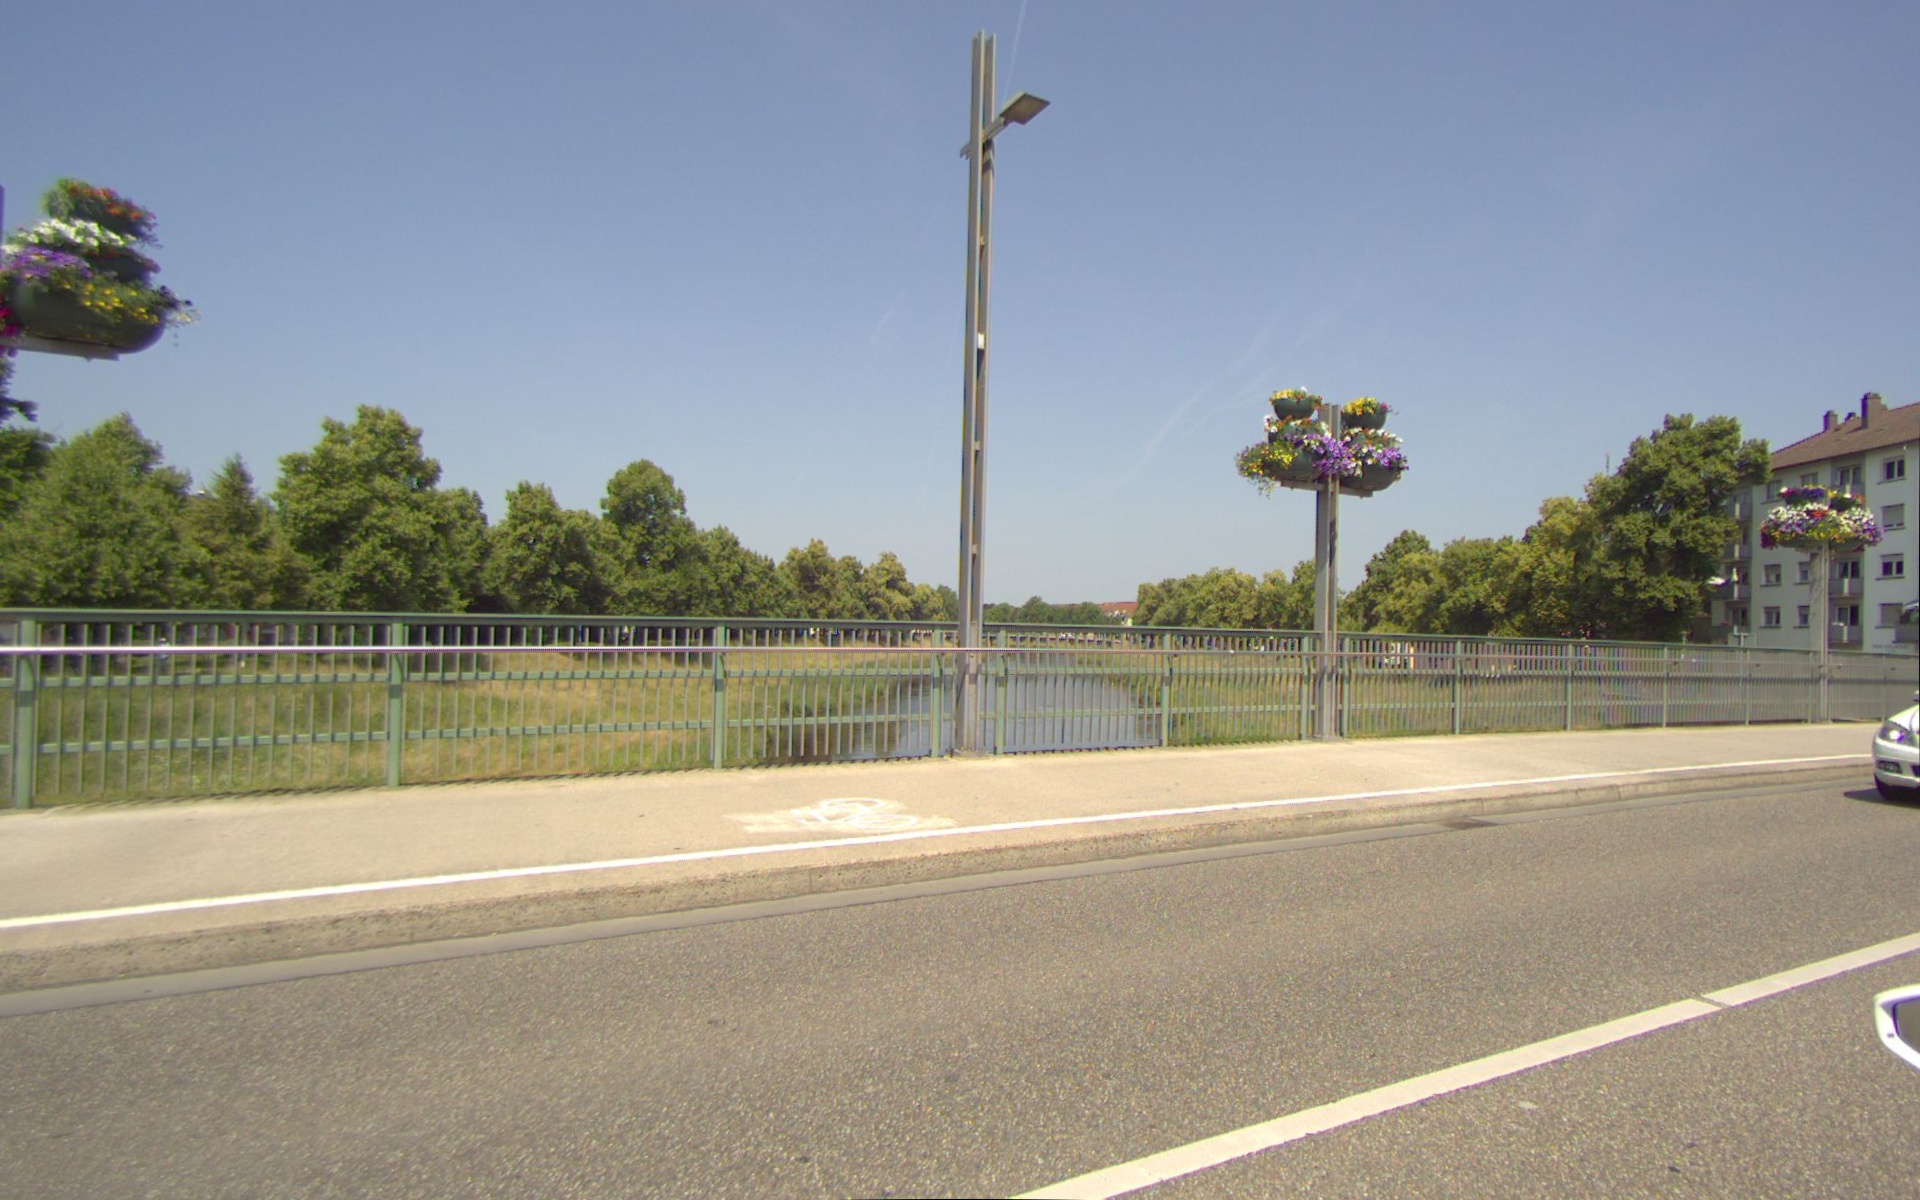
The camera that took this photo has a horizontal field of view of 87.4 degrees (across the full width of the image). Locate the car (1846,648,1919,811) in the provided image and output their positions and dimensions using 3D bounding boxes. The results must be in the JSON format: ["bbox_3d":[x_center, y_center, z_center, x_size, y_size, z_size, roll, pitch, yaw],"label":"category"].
[{"bbox_3d":[10.839,1.221,9.775,4.655,1.451,1.837,2,-2,-28],"label":"car"}]

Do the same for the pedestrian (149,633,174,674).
[{"bbox_3d":[-40.947,2.732,51.513,0.873,2.040,0.720,2,0,-31],"label":"pedestrian"}]
